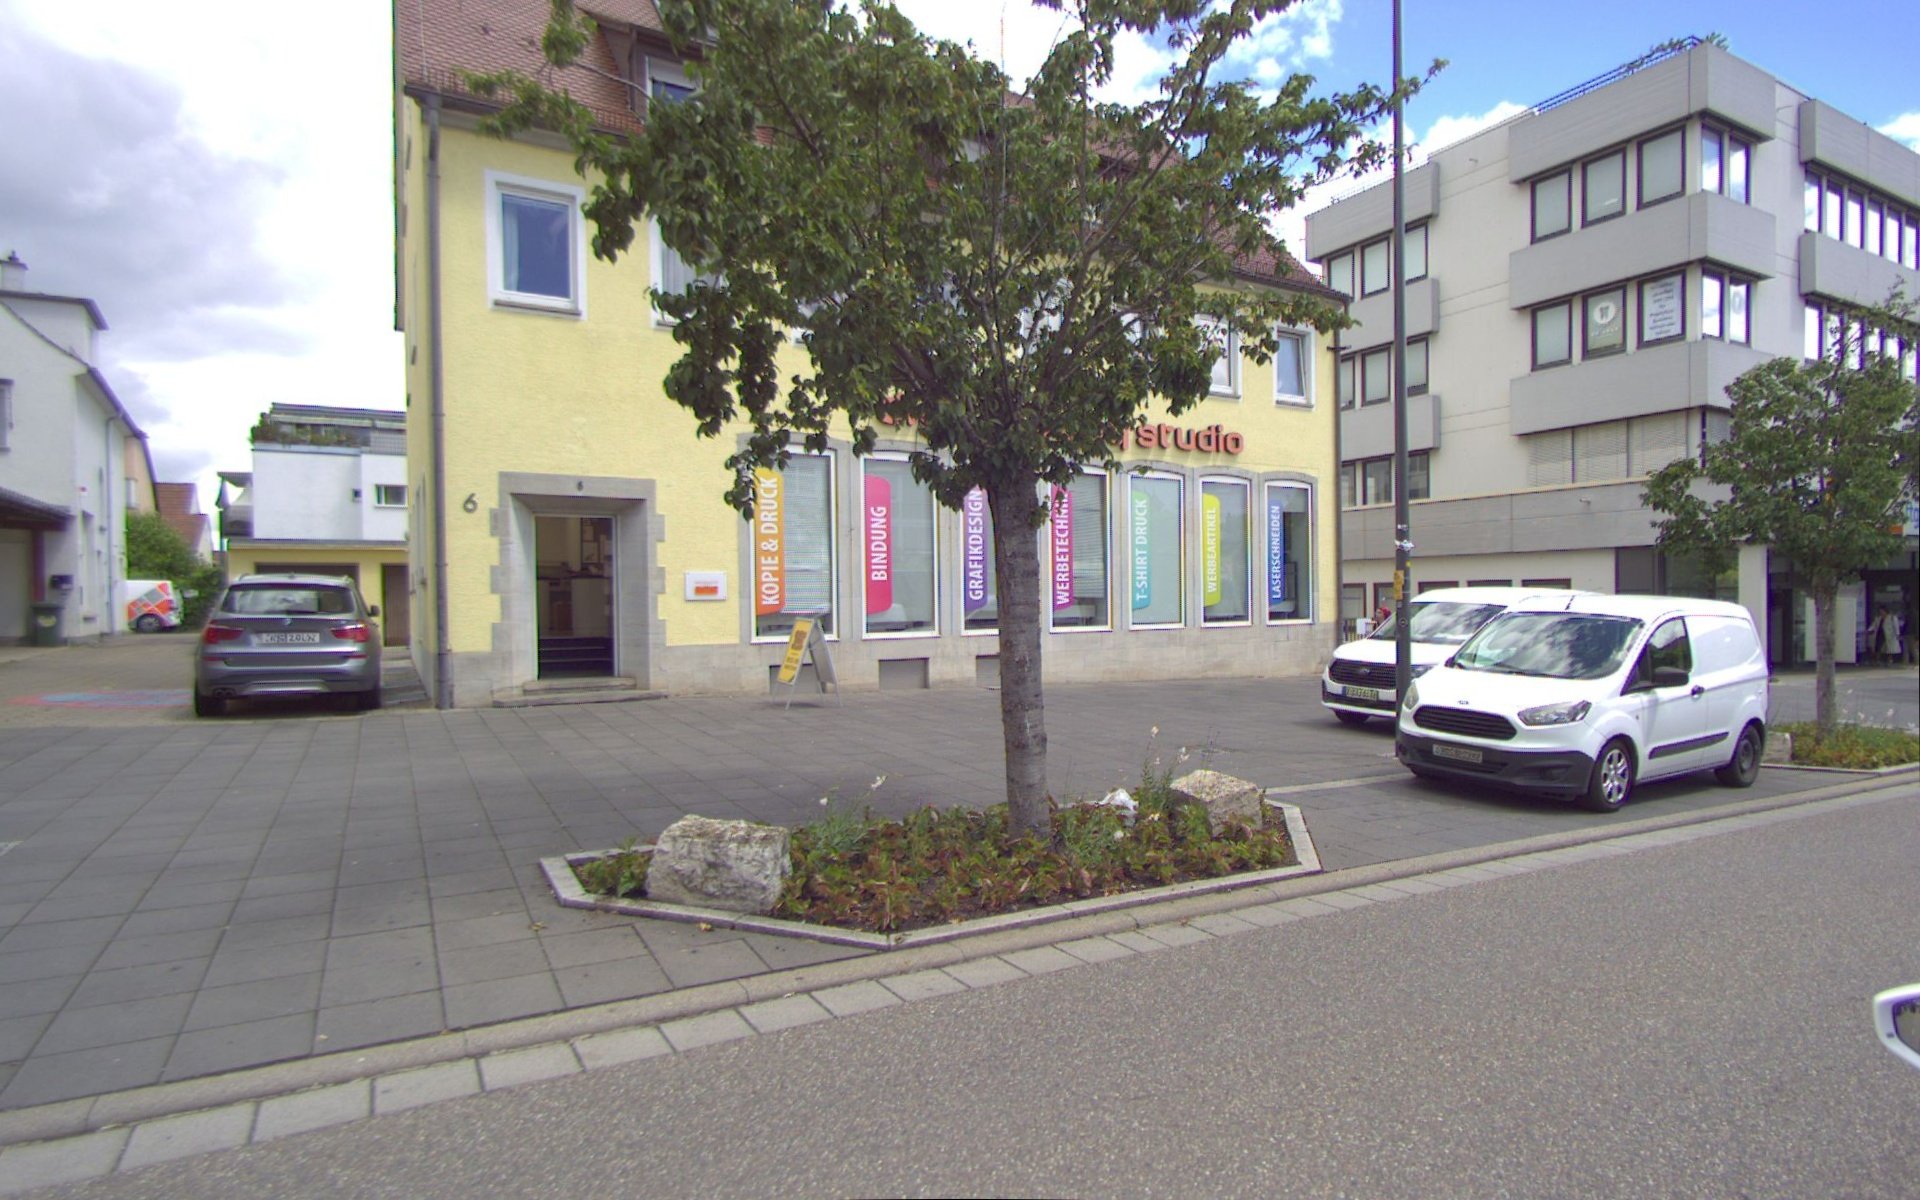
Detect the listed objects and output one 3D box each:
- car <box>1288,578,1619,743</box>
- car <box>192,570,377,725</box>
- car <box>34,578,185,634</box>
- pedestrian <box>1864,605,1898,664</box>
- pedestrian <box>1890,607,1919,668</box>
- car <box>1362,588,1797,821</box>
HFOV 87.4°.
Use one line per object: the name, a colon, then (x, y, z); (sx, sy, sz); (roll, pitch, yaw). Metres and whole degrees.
car: (6.515, 0.702, 13.135); (4.425, 1.838, 1.747); (1, 1, -31)
car: (-8.479, 0.508, 12.813); (1.713, 1.672, 3.509); (1, 0, -32)
car: (-29.249, 0.207, 34.643); (3.922, 1.830, 1.480); (1, 0, -42)
pedestrian: (25.189, 0.935, 27.462); (0.579, 1.587, 0.508); (1, -1, -28)
pedestrian: (25.022, 0.984, 26.433); (0.579, 1.587, 0.640); (1, -1, -27)
car: (5.772, 0.797, 9.201); (4.302, 1.694, 1.647); (1, 1, -32)
